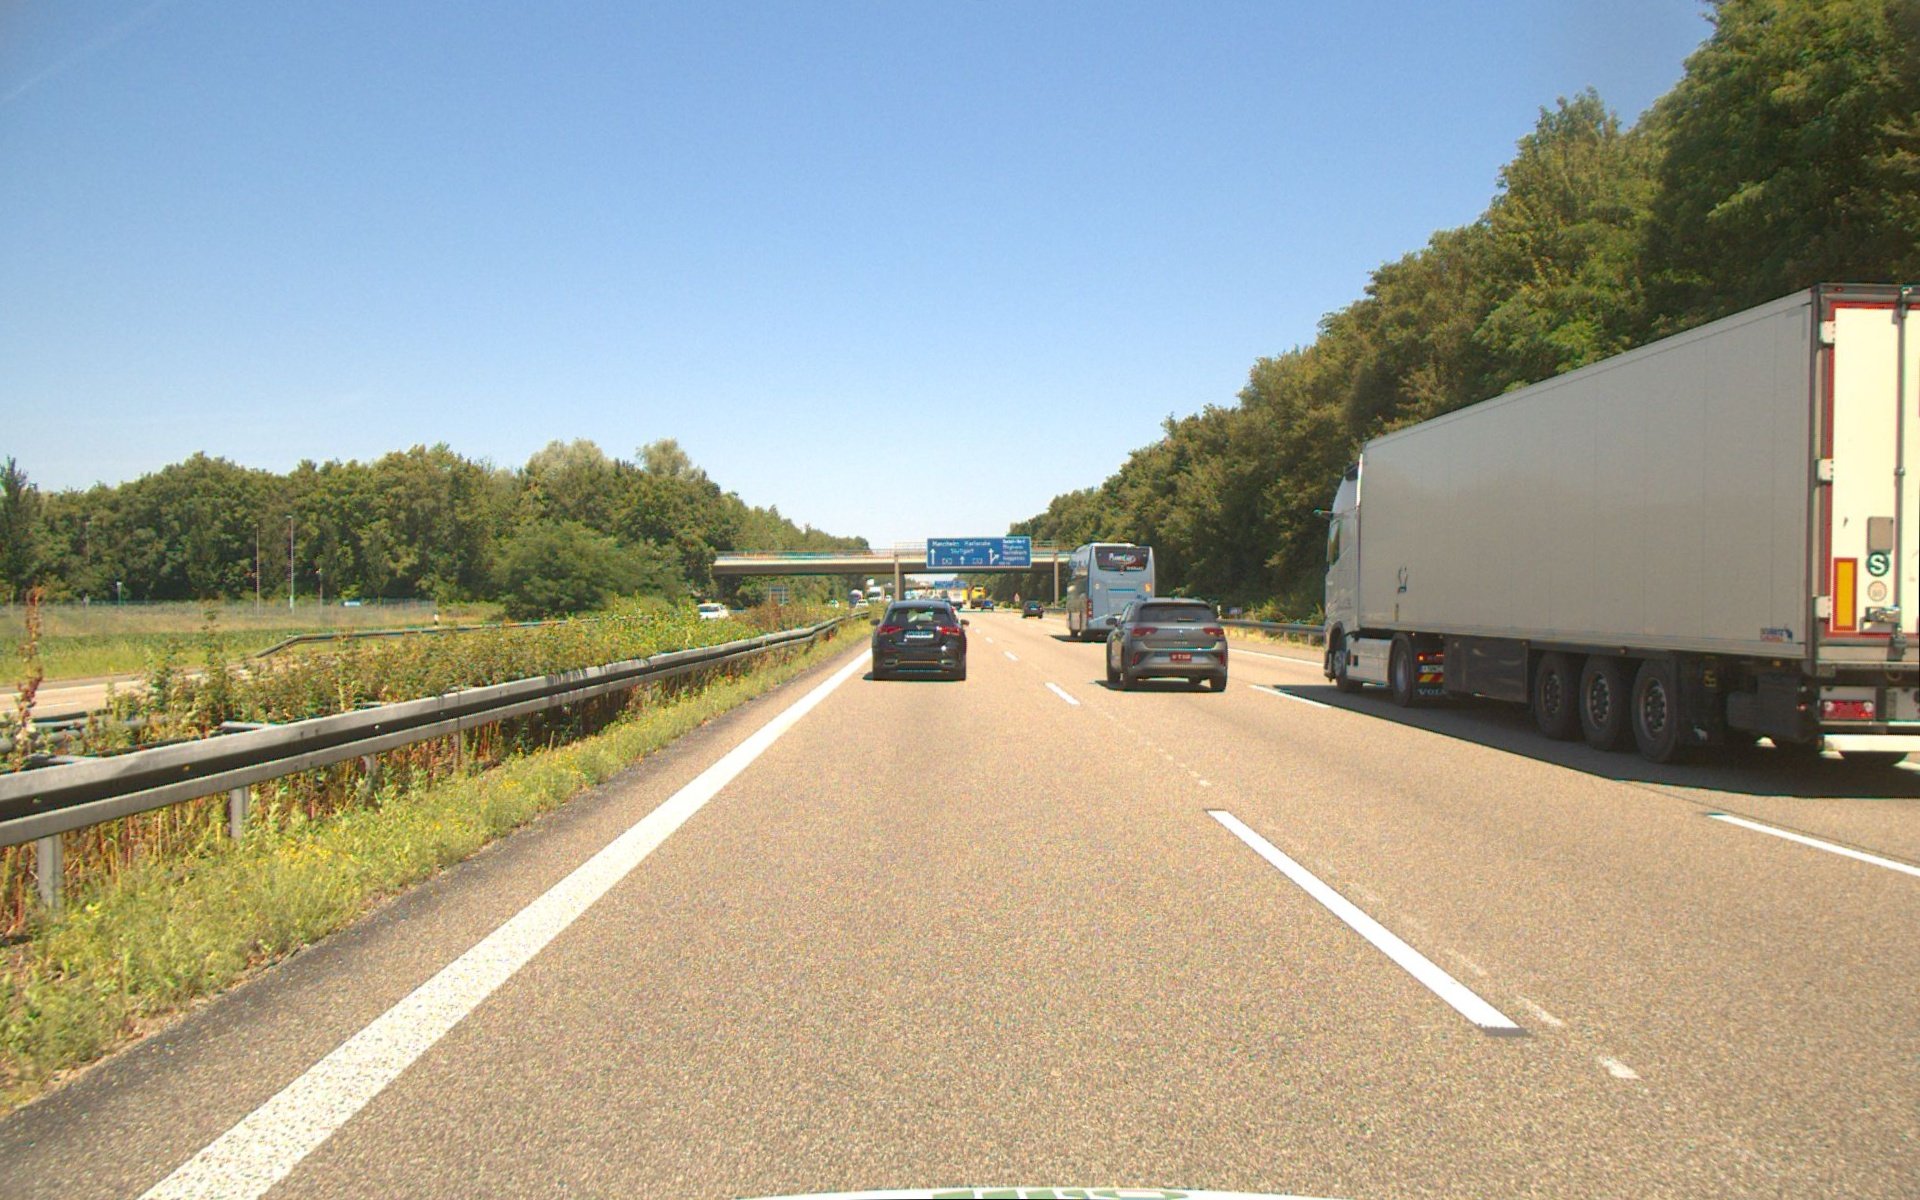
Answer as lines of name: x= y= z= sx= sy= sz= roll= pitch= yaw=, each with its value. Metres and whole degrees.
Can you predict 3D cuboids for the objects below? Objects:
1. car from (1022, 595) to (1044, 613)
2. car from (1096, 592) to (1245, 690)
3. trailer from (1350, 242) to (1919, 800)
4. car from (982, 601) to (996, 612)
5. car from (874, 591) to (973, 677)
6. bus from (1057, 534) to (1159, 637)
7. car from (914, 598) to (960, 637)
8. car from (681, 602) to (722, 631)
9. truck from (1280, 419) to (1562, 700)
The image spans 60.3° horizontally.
car: x=6.317 y=0.339 z=143.762 sx=1.753 sy=1.487 sz=3.949 roll=1 pitch=0 yaw=0
car: x=3.616 y=0.659 z=29.226 sx=1.861 sy=1.559 sz=4.758 roll=1 pitch=0 yaw=-2
trailer: x=7.990 y=-0.616 z=19.718 sx=2.978 sy=4.298 sz=13.830 roll=1 pitch=0 yaw=-2
car: x=4.366 y=1.019 z=247.736 sx=2.038 sy=1.559 sz=4.241 roll=1 pitch=0 yaw=0
car: x=-0.722 y=0.607 z=31.718 sx=1.763 sy=1.528 sz=4.240 roll=1 pitch=0 yaw=-2
bus: x=5.680 y=-0.505 z=65.679 sx=2.745 sy=3.659 sz=12.472 roll=1 pitch=0 yaw=-1
car: x=-1.012 y=0.729 z=70.026 sx=1.861 sy=1.559 sz=4.240 roll=1 pitch=0 yaw=-2
car: x=-14.057 y=0.895 z=89.978 sx=1.600 sy=1.452 sz=4.659 roll=-2 pitch=0 yaw=-2
truck: x=7.701 y=-0.631 z=28.515 sx=2.986 sy=4.289 sz=6.046 roll=1 pitch=0 yaw=-2
